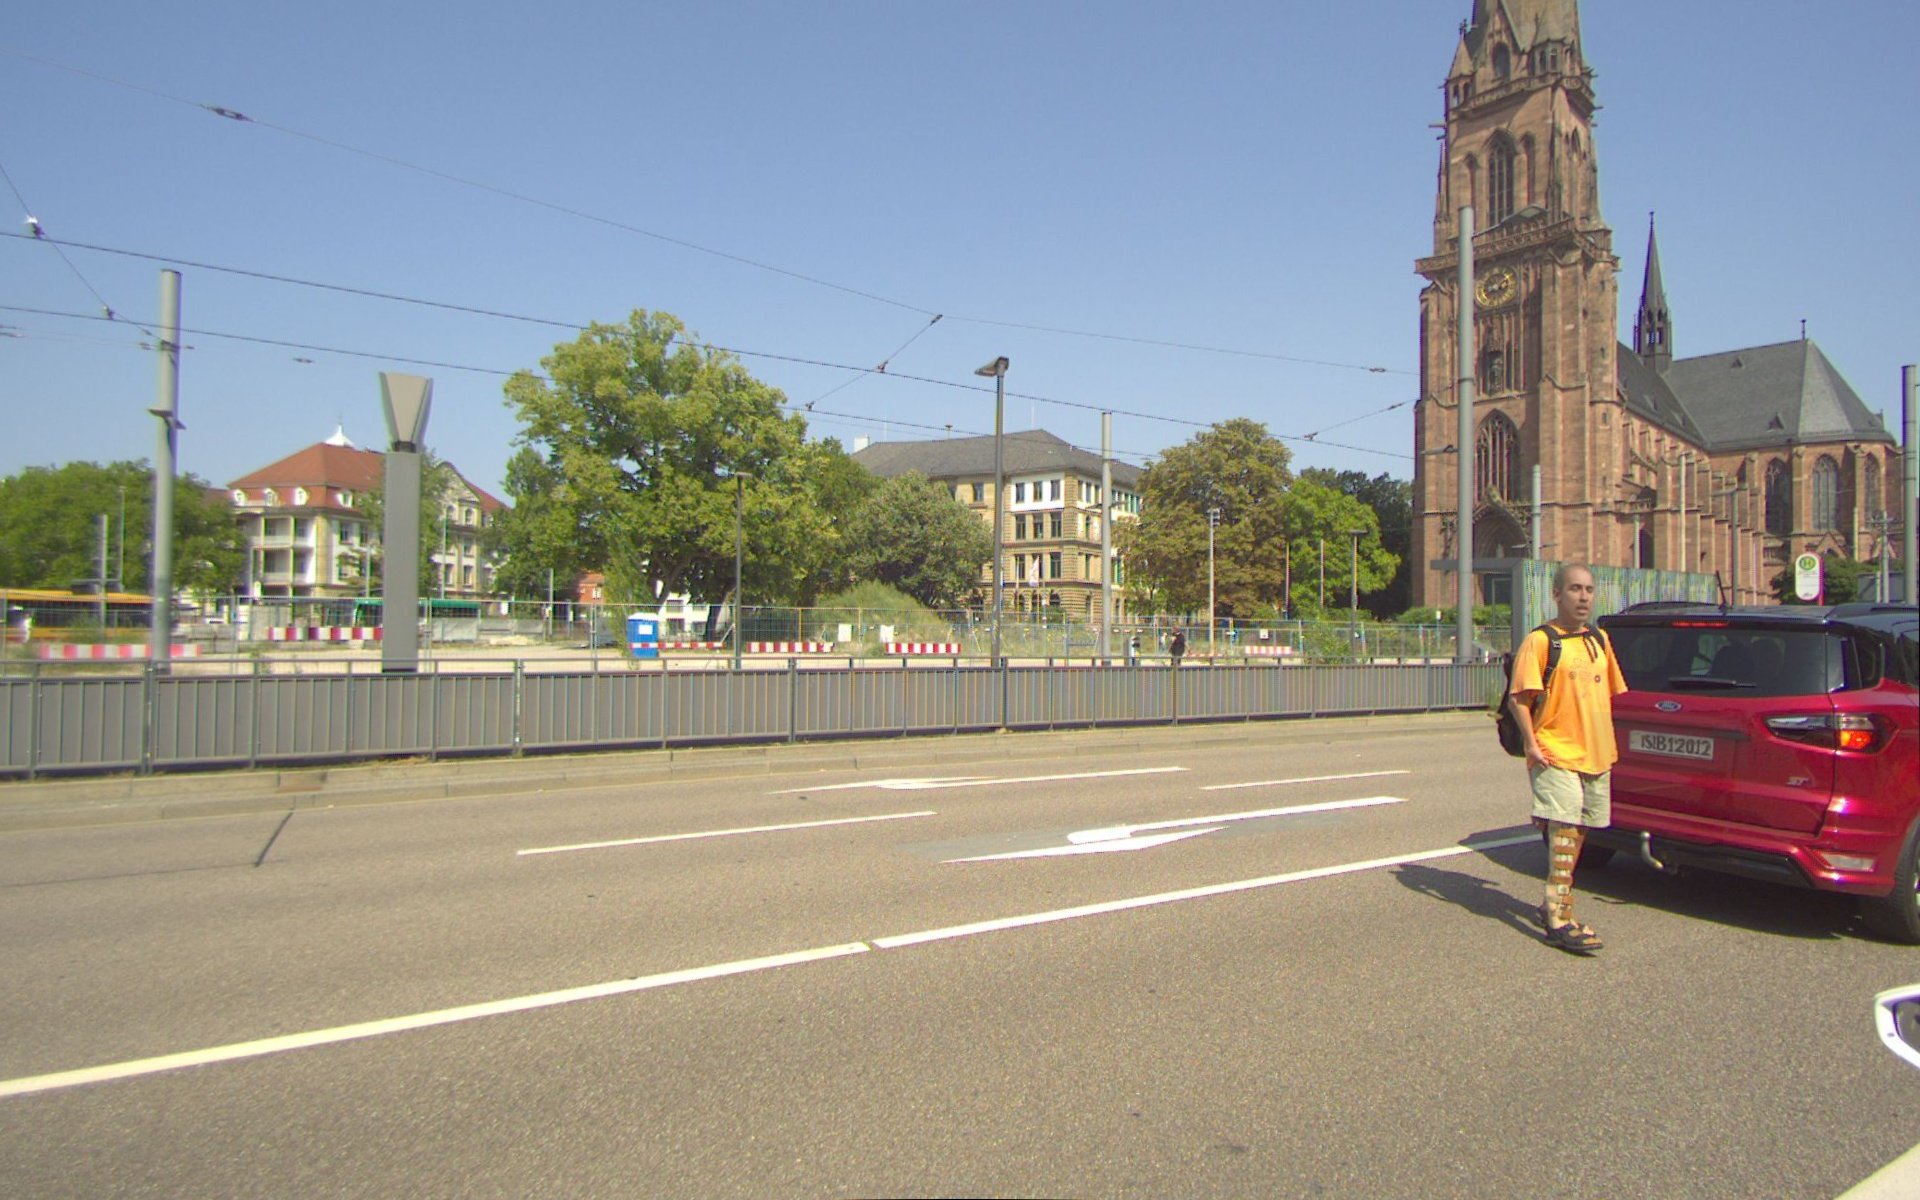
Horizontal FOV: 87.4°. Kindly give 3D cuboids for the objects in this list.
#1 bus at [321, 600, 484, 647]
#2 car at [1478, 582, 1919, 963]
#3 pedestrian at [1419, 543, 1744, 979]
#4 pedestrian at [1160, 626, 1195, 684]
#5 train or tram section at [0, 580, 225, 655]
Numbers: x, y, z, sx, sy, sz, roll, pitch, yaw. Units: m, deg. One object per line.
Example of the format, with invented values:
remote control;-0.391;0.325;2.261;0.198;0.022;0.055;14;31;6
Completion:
bus;-39.940;1.616;72.792;2.491;3.072;12.442;-1;-1;14
car;5.226;0.842;6.086;4.032;1.639;1.755;3;-2;-28
pedestrian;2.850;0.665;4.713;0.751;1.775;1.065;1;-1;-16
pedestrian;6.805;1.714;31.423;0.712;1.774;0.825;2;-2;-29
train or tram section;-51.831;1.142;57.759;3.982;3.972;16.682;-1;-3;15
